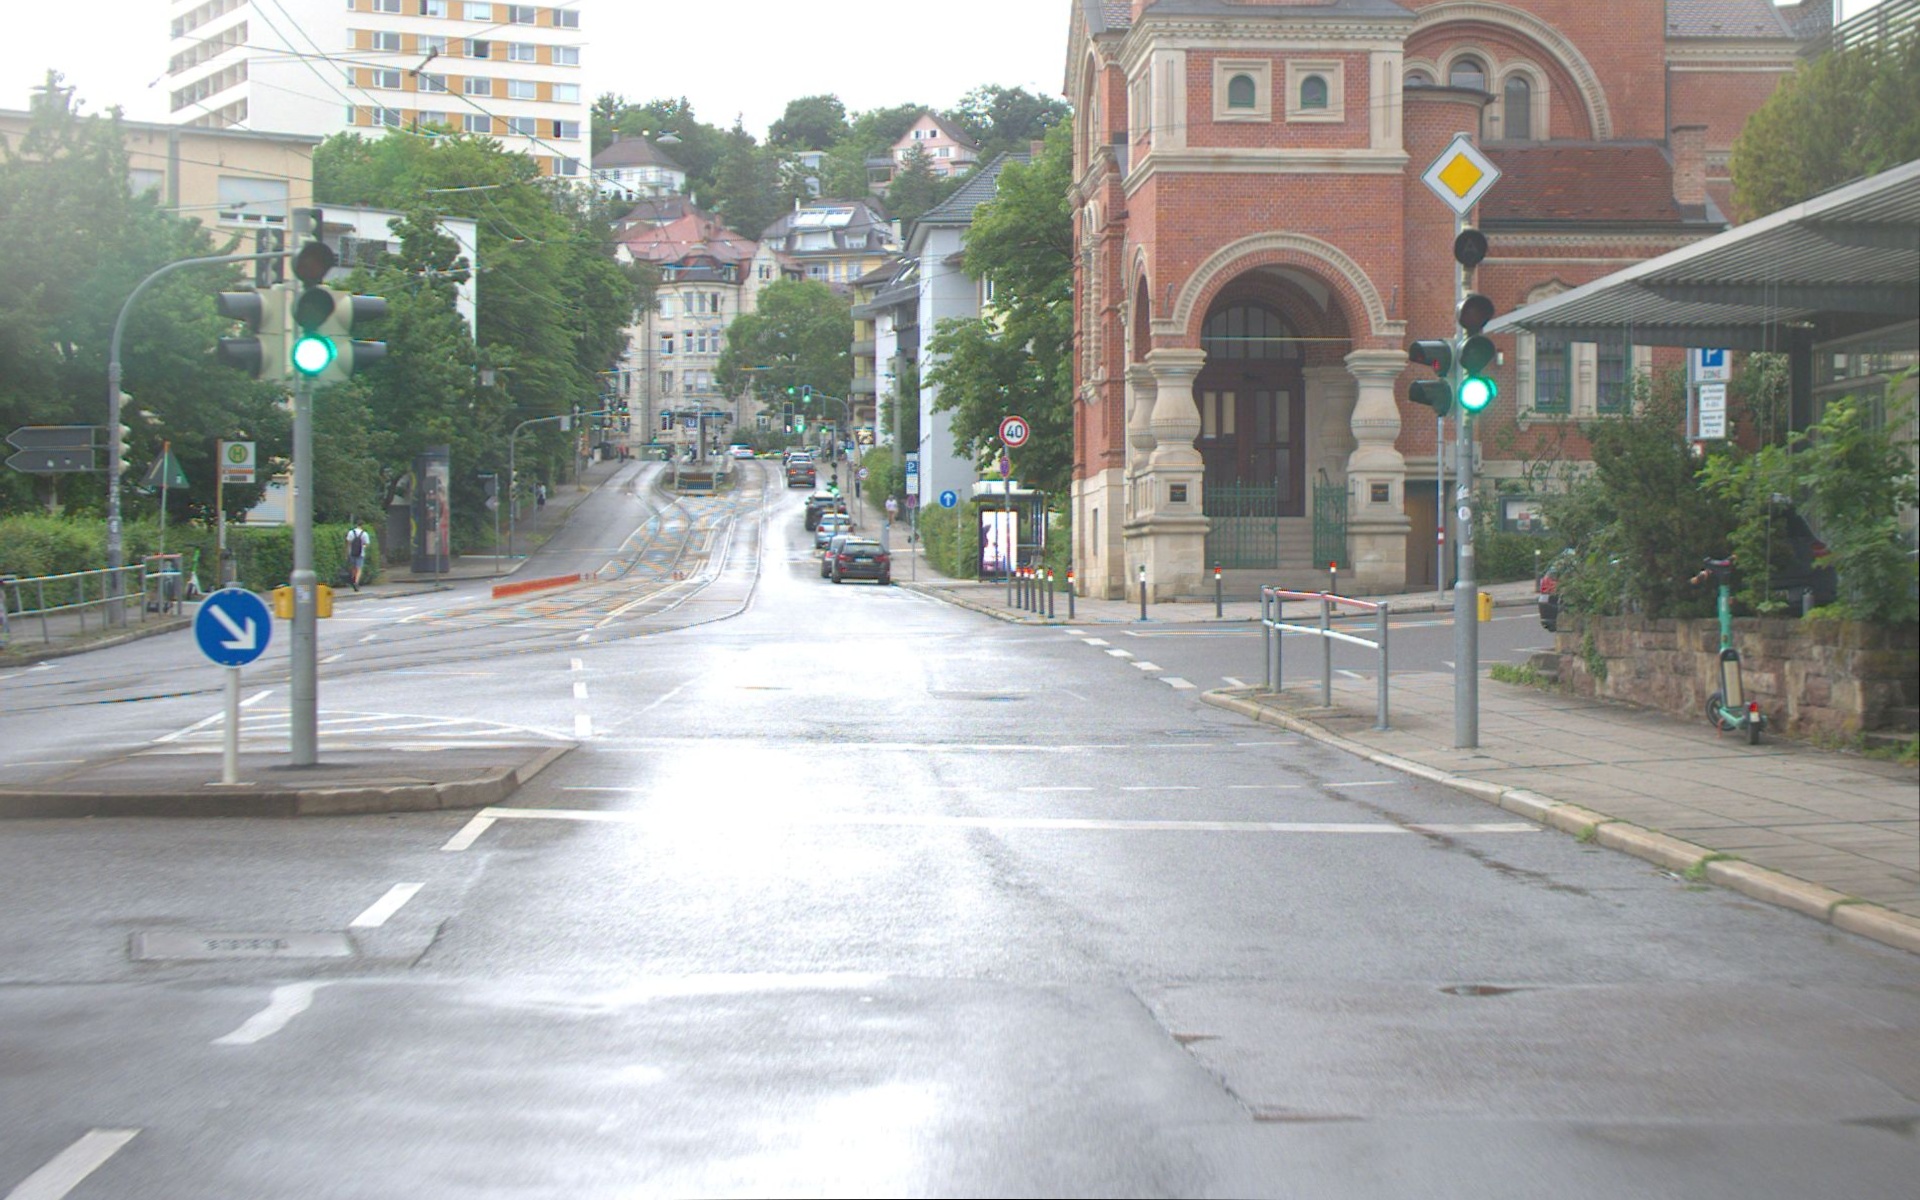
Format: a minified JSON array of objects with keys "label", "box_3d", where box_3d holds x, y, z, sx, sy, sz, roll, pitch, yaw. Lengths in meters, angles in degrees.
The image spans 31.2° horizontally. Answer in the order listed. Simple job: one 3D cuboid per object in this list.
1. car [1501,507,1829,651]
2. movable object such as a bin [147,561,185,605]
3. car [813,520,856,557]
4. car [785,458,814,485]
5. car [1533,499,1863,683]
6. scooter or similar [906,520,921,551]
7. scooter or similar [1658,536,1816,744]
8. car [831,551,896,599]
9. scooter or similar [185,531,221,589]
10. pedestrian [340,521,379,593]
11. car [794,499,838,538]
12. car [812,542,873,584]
[{"label":"car","box_3d":[8.717,-0.304,42.279,2.000,1.452,4.439,1,5,41]},{"label":"movable object such as a bin","box_3d":[-16.182,-0.335,70.048,0.686,0.879,0.760,1,-1,-8]},{"label":"car","box_3d":[-5.420,-2.660,148.124,1.704,1.428,4.103,1,3,-4]},{"label":"car","box_3d":[-10.212,-8.159,218.713,1.801,1.640,4.001,1,1,-2]},{"label":"car","box_3d":[6.748,-0.052,31.928,1.853,1.498,4.449,-3,-1,-3]},{"label":"scooter or similar","box_3d":[-2.013,-2.805,148.971,0.575,1.245,1.610,1,5,2]},{"label":"scooter or similar","box_3d":[5.252,0.254,23.306,0.534,1.323,1.659,-5,1,-2]},{"label":"car","box_3d":[-3.161,-0.823,111.718,1.857,1.482,4.646,1,1,-4]},{"label":"scooter or similar","box_3d":[-15.794,-0.824,71.735,0.572,1.180,1.600,1,-1,-7]},{"label":"pedestrian","box_3d":[-15.795,-1.121,90.401,0.918,1.839,1.017,2,0,-7]},{"label":"car","box_3d":[-6.900,-3.910,164.408,1.906,1.636,4.691,1,3,-4]},{"label":"car","box_3d":[-4.217,-1.342,123.153,1.939,1.459,4.207,1,1,-5]}]
